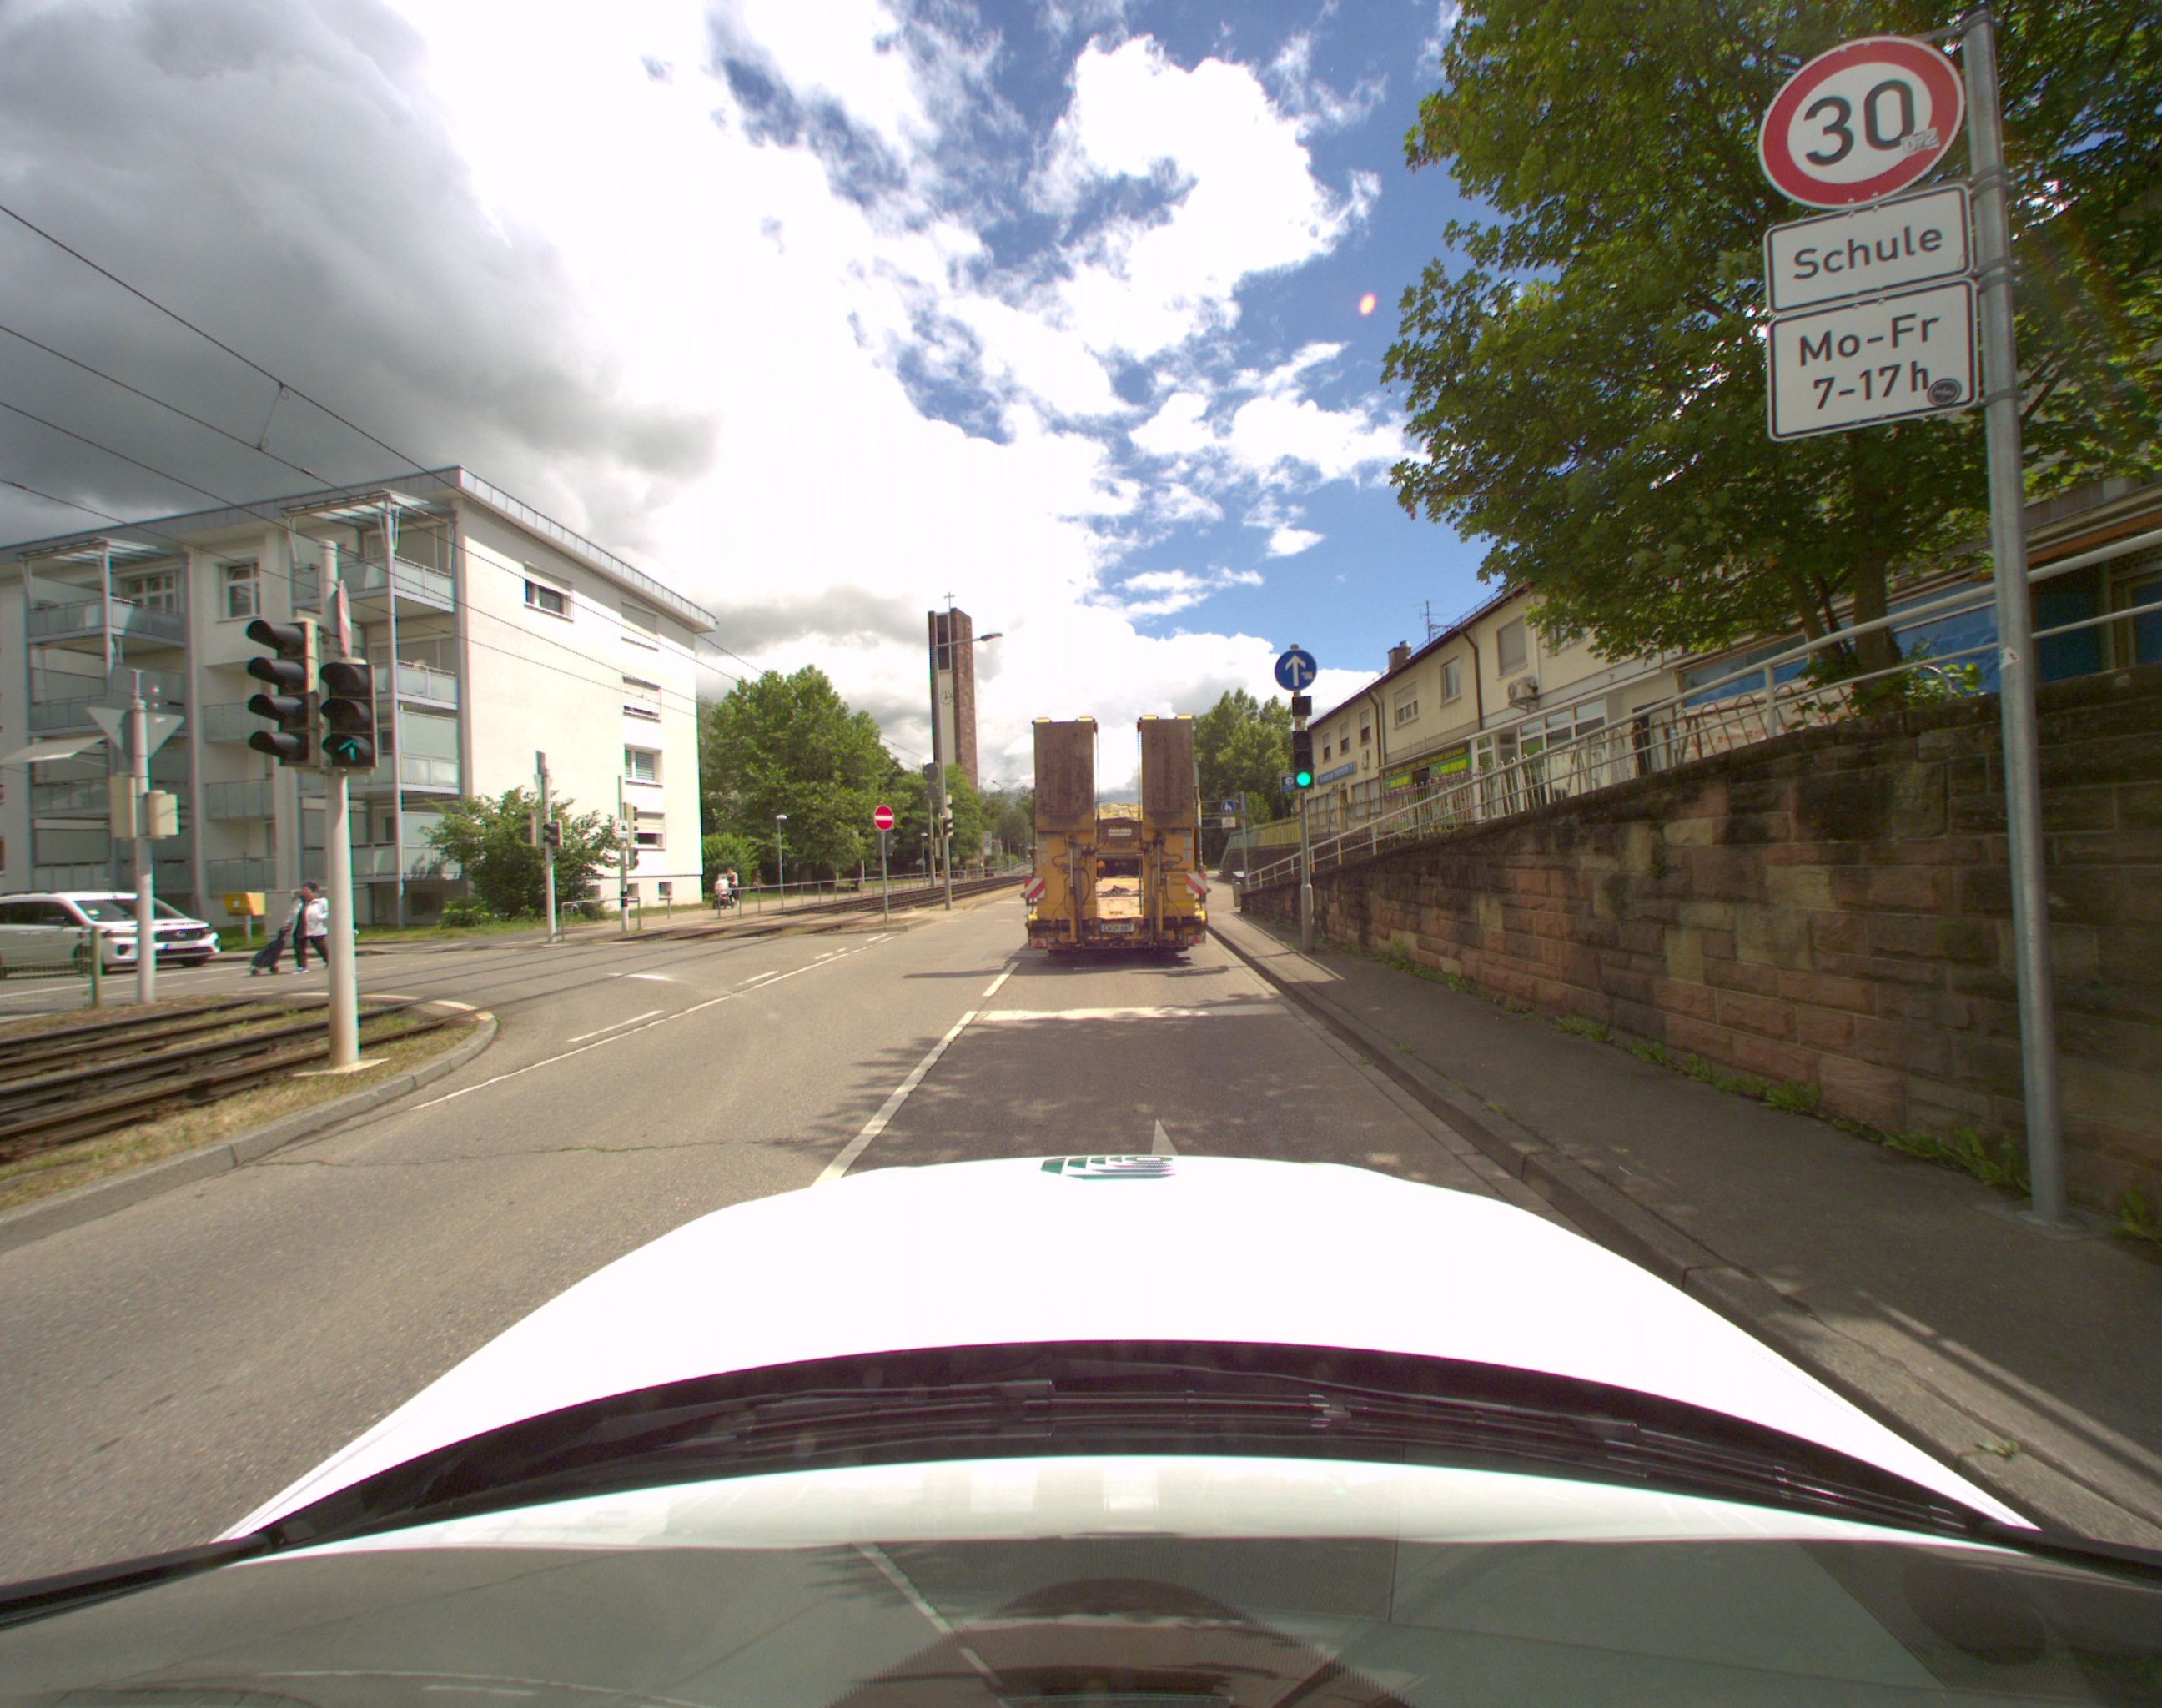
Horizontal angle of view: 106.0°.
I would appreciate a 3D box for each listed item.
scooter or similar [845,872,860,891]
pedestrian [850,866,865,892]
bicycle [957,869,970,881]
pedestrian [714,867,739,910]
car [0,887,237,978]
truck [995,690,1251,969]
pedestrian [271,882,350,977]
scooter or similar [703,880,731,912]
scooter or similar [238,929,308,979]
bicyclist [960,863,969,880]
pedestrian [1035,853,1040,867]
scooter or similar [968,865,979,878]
[{"bbox_3d":[-13.671,1.664,48.815,0.602,1.115,0.821,-2,-1,2],"label":"scooter or similar"},{"bbox_3d":[-13.645,1.505,49.660,0.610,1.540,0.874,-2,-1,2],"label":"pedestrian"},{"bbox_3d":[-10.221,1.816,70.889,0.634,0.994,1.930,-1,-1,4],"label":"bicycle"},{"bbox_3d":[-14.034,1.353,32.259,0.642,1.692,0.680,-2,-1,4],"label":"pedestrian"},{"bbox_3d":[-21.247,1.677,17.758,4.251,1.729,1.815,-2,-1,9],"label":"car"},{"bbox_3d":[0.784,-0.266,18.101,3.389,3.732,13.742,-2,-1,2],"label":"truck"},{"bbox_3d":[-13.818,1.328,14.623,0.601,1.607,0.774,-3,-1,2],"label":"pedestrian"},{"bbox_3d":[-14.071,1.608,31.463,0.605,1.163,0.893,-2,-1,4],"label":"scooter or similar"},{"bbox_3d":[-14.231,1.757,14.361,0.530,0.773,0.666,-3,-1,2],"label":"scooter or similar"},{"bbox_3d":[-10.150,1.536,71.108,0.630,1.429,0.791,-1,-1,4],"label":"bicyclist"},{"bbox_3d":[-6.630,0.931,124.135,0.709,2.014,0.732,-1,-1,2],"label":"pedestrian"},{"bbox_3d":[-10.171,1.633,77.088,0.646,1.237,1.403,-1,0,5],"label":"scooter or similar"}]
